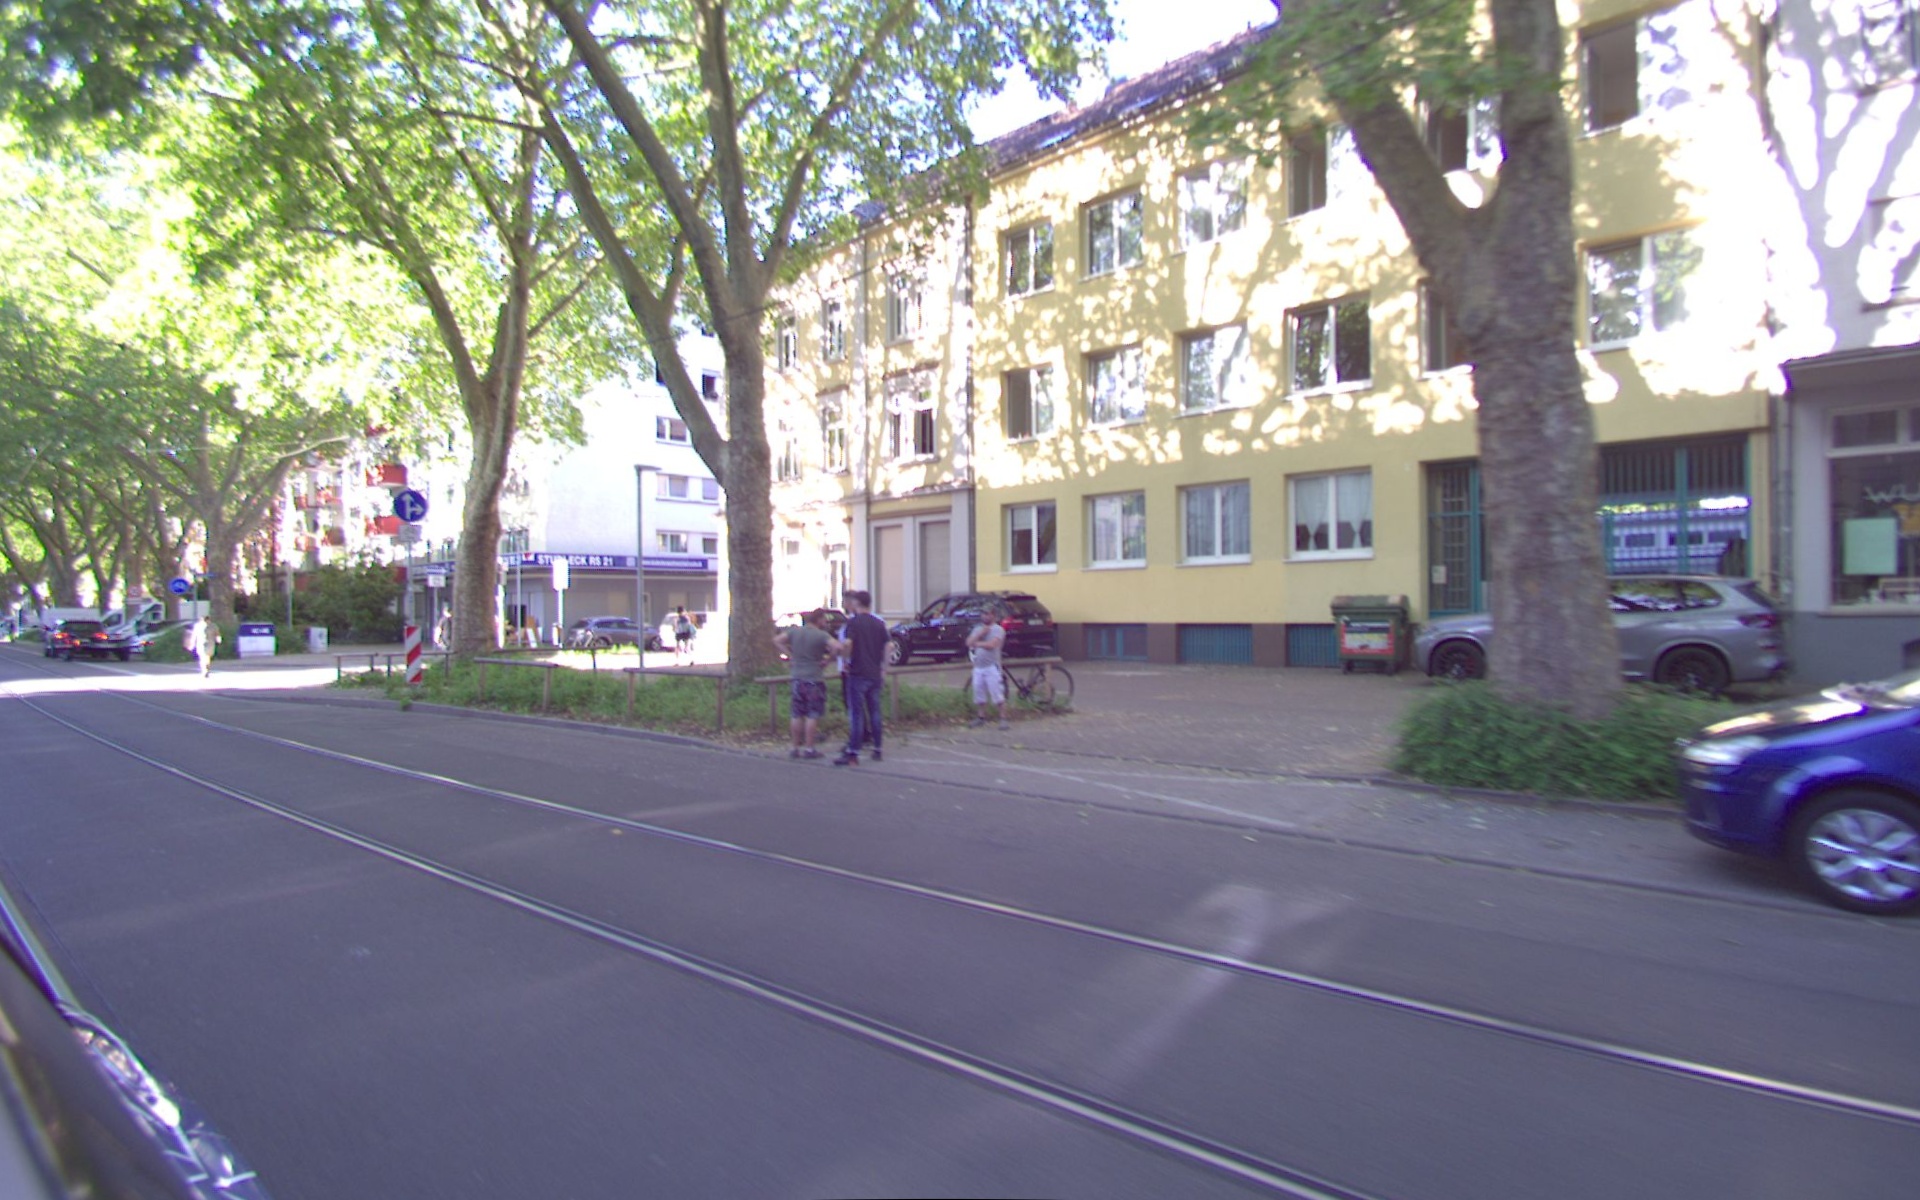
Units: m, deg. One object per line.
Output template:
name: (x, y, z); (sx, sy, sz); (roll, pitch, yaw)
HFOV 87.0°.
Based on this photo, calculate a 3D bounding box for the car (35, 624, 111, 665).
car: (-38.981, 1.945, 44.457); (4.180, 1.696, 1.903); (-1, -3, 41)

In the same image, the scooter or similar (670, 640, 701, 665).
scooter or similar: (-8.761, 1.679, 32.303); (0.896, 0.759, 0.522); (-1, 0, 41)

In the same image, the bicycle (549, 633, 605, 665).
bicycle: (-13.791, 1.739, 36.461); (0.655, 1.070, 1.845); (-1, 0, 35)

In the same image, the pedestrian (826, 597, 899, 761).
pedestrian: (-1.088, 0.849, 11.258); (0.759, 1.748, 0.715); (-1, 0, -6)

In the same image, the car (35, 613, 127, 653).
car: (-60.271, 2.230, 69.460); (2.000, 2.552, 4.599); (-1, 0, 43)

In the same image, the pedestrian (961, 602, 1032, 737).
pedestrian: (0.443, 0.842, 12.638); (0.759, 1.622, 0.715); (-1, 0, -6)

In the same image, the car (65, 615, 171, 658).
car: (-49.422, 2.109, 59.468); (2.000, 2.323, 4.599); (-1, 0, 43)

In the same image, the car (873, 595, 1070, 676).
car: (0.188, 0.793, 24.354); (1.971, 1.750, 4.698); (-1, 0, -45)

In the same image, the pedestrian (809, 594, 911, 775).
pedestrian: (-1.042, 0.839, 10.540); (0.771, 1.790, 0.704); (-1, -1, 42)

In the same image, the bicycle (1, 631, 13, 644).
bicycle: (-69.382, 2.695, 73.654); (1.557, 0.913, 0.526); (-1, 0, 44)

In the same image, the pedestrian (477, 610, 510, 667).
pedestrian: (-15.100, 1.236, 32.792); (0.664, 1.793, 0.720); (-1, 0, 17)

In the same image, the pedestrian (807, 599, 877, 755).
pedestrian: (-1.373, 0.870, 11.820); (0.759, 1.748, 0.718); (-1, 0, -6)

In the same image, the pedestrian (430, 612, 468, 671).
pedestrian: (-15.531, 1.245, 30.782); (0.729, 1.770, 0.735); (-1, 0, 18)

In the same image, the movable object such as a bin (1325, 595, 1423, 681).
movable object such as a bin: (7.712, 0.683, 18.848); (1.343, 1.513, 1.217); (-1, 0, 42)

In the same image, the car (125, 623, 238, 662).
car: (-36.869, 1.974, 47.961); (1.999, 1.657, 3.945); (-1, 0, 41)

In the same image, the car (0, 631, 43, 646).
car: (-100.102, 4.067, 107.391); (1.792, 1.478, 3.945); (-1, 0, 41)

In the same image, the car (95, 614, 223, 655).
car: (-42.716, 1.790, 54.072); (1.997, 2.010, 5.071); (-1, 0, 38)

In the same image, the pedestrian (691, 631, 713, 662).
pedestrian: (-8.960, 1.597, 35.164); (0.540, 1.048, 0.541); (-1, 0, 10)

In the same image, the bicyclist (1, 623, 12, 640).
bicyclist: (-69.386, 2.291, 73.633); (0.666, 1.222, 0.526); (-1, -1, 43)

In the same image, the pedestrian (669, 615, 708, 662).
pedestrian: (-8.863, 1.255, 33.022); (1.069, 1.490, 0.764); (-1, 0, 41)

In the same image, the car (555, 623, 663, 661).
car: (-15.288, 1.784, 44.255); (1.834, 1.489, 4.098); (-1, 0, 42)

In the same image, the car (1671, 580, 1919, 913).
car: (6.038, 0.666, 4.694); (4.283, 1.573, 1.896); (-1, 0, 42)

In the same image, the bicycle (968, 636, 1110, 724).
bicycle: (1.076, 1.058, 13.742); (1.820, 1.088, 0.571); (-1, 0, -20)

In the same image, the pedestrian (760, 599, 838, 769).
pedestrian: (-1.715, 0.872, 10.874); (0.704, 1.748, 0.771); (-1, 0, 0)

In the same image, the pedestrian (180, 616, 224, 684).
pedestrian: (-20.536, 1.341, 27.424); (0.799, 1.805, 0.693); (-1, 0, 30)

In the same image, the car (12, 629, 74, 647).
car: (-82.314, 3.390, 90.858); (1.999, 1.478, 3.945); (-1, 0, 41)

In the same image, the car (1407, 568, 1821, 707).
car: (9.558, 0.496, 15.098); (4.899, 1.746, 1.971); (-1, 0, 44)

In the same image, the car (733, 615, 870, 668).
car: (-4.628, 1.166, 29.284); (3.998, 1.398, 1.761); (-1, 0, 41)

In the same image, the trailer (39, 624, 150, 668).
trailer: (-34.919, 1.815, 40.760); (6.581, 1.644, 2.420); (-1, -4, 41)

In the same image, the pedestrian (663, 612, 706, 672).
pedestrian: (-7.733, 1.164, 28.405); (1.009, 1.650, 0.704); (-1, 0, 40)

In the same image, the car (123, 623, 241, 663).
car: (-35.269, 1.898, 45.952); (1.908, 1.622, 3.945); (-1, 0, 41)

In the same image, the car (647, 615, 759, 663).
car: (-10.267, 1.544, 40.604); (1.799, 1.650, 3.958); (-6, -4, 42)
